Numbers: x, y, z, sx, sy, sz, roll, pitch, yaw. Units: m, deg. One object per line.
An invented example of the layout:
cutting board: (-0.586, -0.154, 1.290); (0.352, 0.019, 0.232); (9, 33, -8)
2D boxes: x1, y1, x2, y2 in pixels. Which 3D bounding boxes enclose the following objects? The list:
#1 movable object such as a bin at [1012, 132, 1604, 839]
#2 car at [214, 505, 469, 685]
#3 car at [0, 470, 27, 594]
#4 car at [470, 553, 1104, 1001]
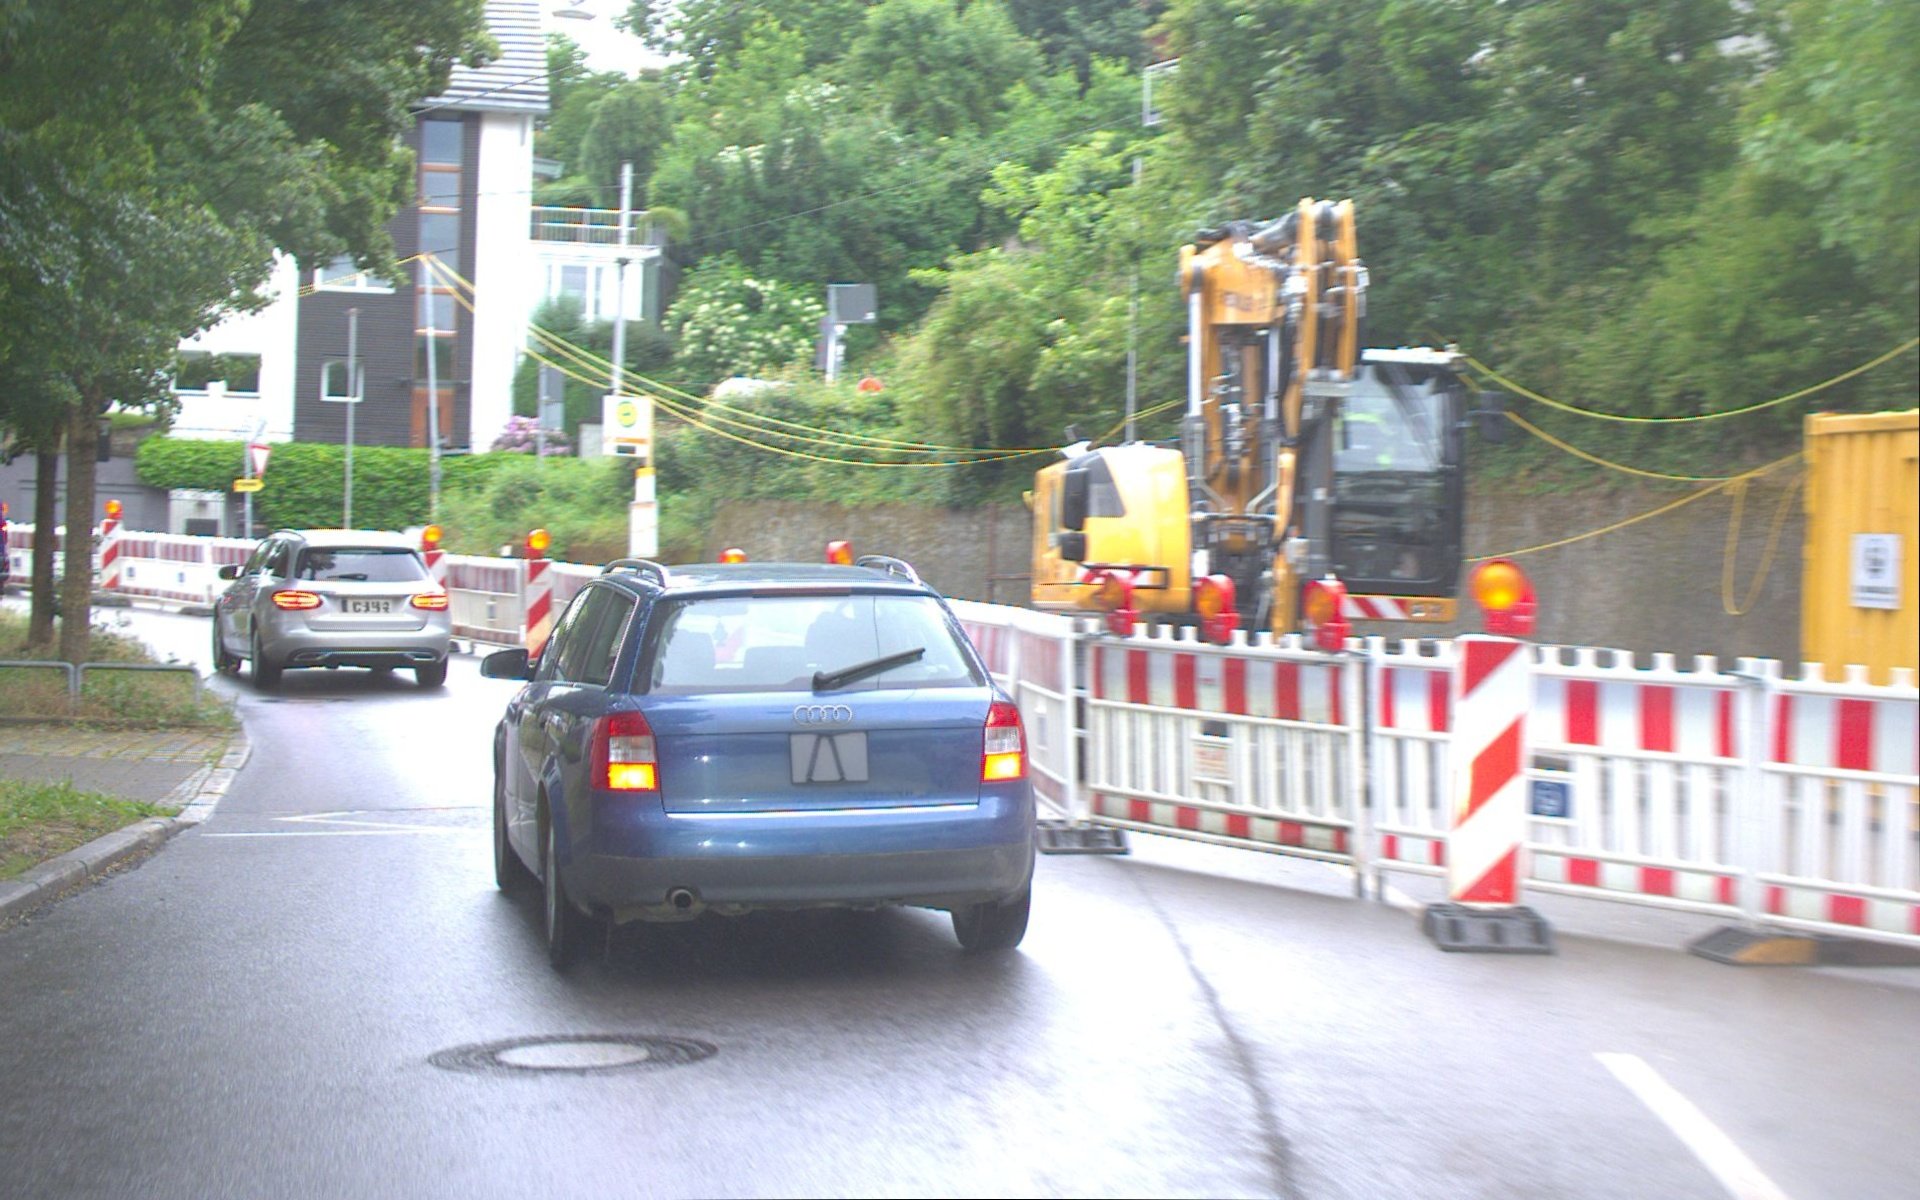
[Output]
movable object such as a bin: (2.038, -0.736, 23.200); (2.819, 4.000, 7.328); (0, 1, -3)
car: (-6.026, -0.103, 33.118); (1.925, 1.612, 4.322); (0, 1, -17)
car: (-15.328, -0.964, 50.956); (1.993, 1.788, 4.000); (-1, 1, -28)
car: (-0.835, 0.566, 13.396); (1.785, 1.437, 3.965); (1, 1, -13)
